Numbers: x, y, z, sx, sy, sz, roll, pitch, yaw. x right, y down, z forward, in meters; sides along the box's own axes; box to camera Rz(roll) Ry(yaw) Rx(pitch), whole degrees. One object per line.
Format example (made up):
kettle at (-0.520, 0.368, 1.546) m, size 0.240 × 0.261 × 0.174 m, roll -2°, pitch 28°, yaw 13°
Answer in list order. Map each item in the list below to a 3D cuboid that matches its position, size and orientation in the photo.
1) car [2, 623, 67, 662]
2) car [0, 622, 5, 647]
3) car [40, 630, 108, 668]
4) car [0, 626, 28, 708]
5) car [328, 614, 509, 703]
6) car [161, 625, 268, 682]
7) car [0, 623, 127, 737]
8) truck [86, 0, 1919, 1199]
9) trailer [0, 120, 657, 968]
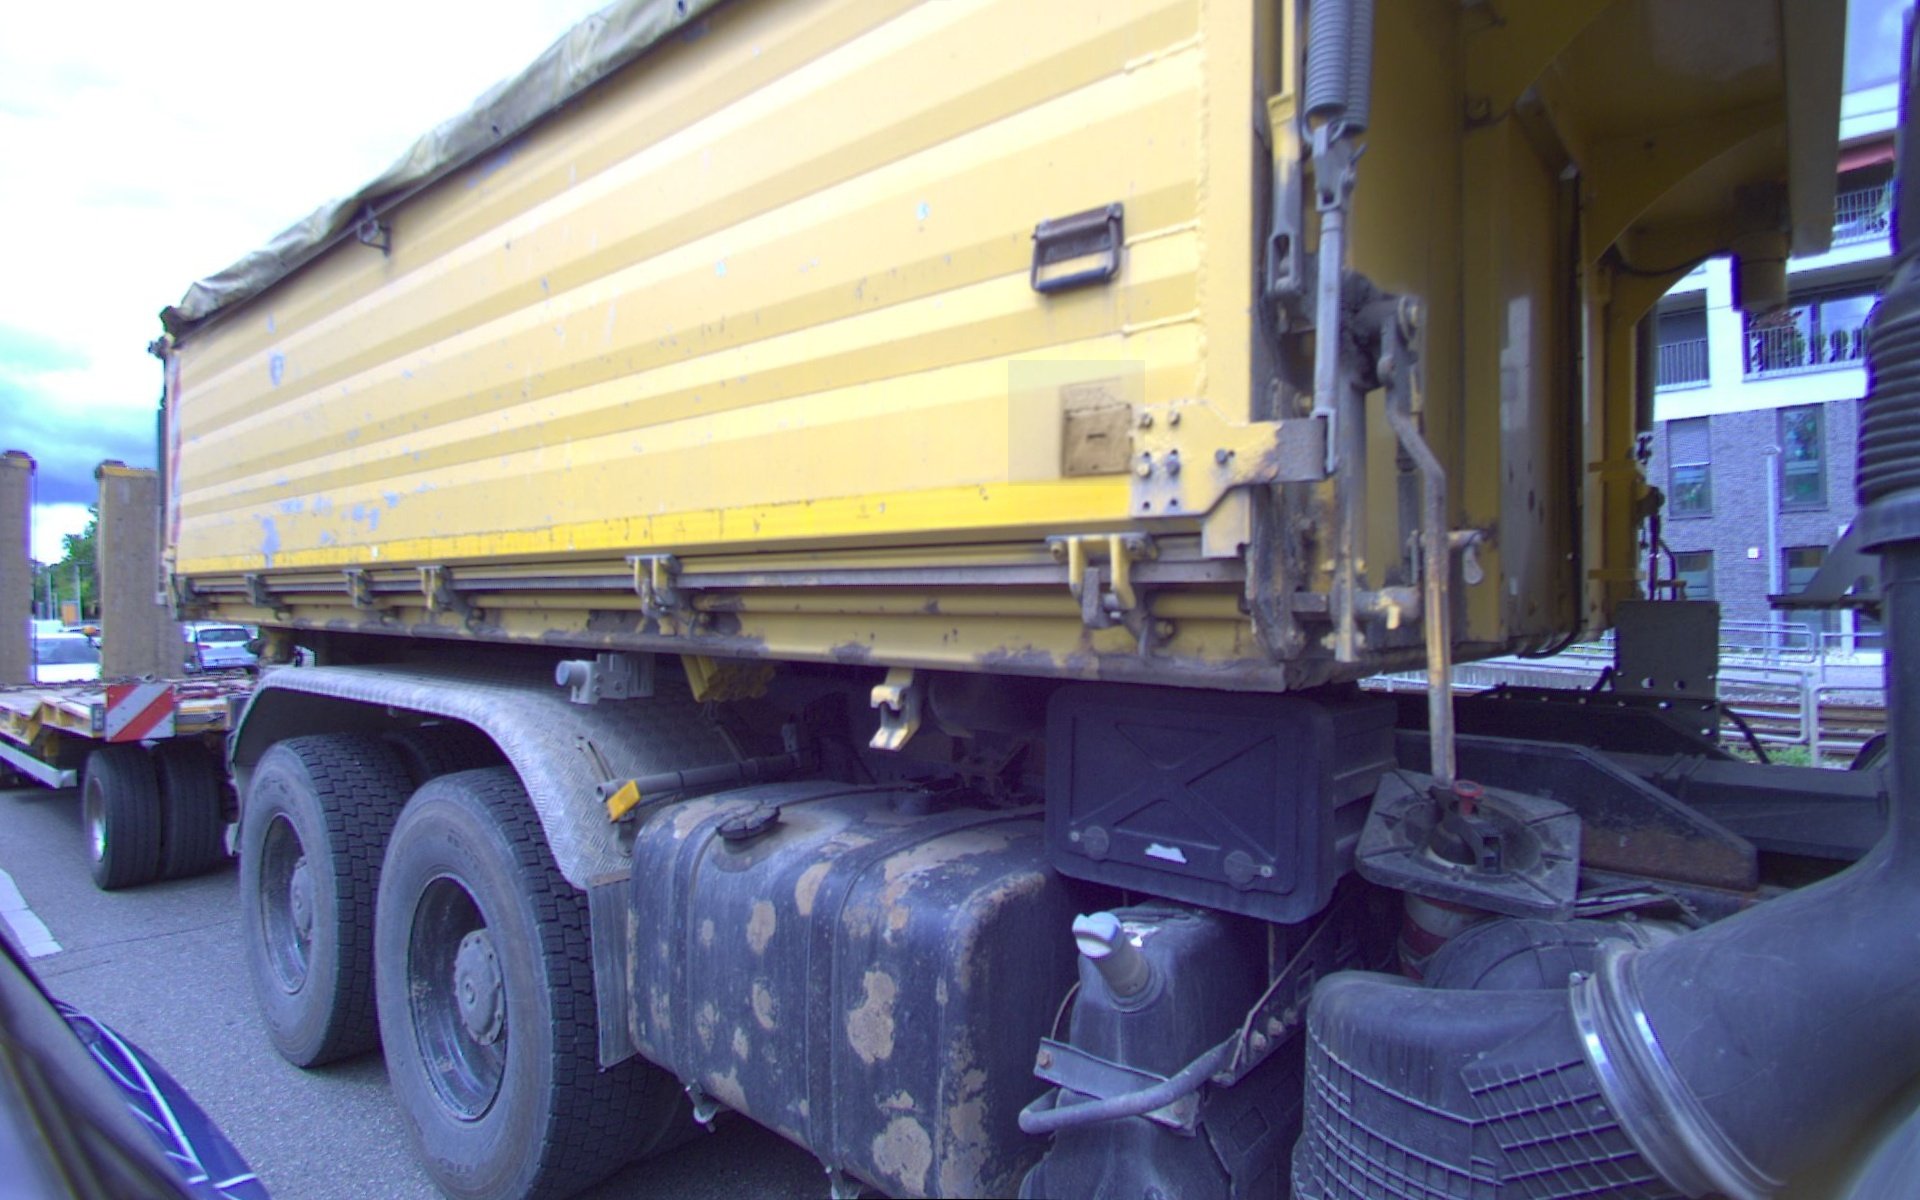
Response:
car at (-45.821, 2.088, 50.062) m, size 4.861 × 1.785 × 1.863 m, roll -2°, pitch -1°, yaw 41°
car at (-60.689, 2.174, 62.861) m, size 3.552 × 1.509 × 1.623 m, roll -2°, pitch -1°, yaw 41°
car at (-36.862, 2.009, 42.104) m, size 3.564 × 1.469 × 1.683 m, roll -2°, pitch -1°, yaw 41°
car at (-19.616, 1.285, 19.755) m, size 3.998 × 1.490 × 1.671 m, roll -1°, pitch 0°, yaw 41°
car at (-10.342, 1.055, 19.210) m, size 4.042 × 1.480 × 1.758 m, roll -2°, pitch -1°, yaw 42°
car at (-20.947, 1.451, 28.379) m, size 4.279 × 1.452 × 1.742 m, roll -2°, pitch -1°, yaw 44°
car at (-14.213, 1.131, 15.464) m, size 3.998 × 1.490 × 1.671 m, roll -1°, pitch 0°, yaw 41°
truck at (0.149, -0.044, 2.688) m, size 7.775 × 3.026 × 2.692 m, roll -1°, pitch 0°, yaw 41°
trailer at (-6.868, -0.138, 8.856) m, size 10.909 × 3.548 × 2.678 m, roll -2°, pitch -1°, yaw 41°
